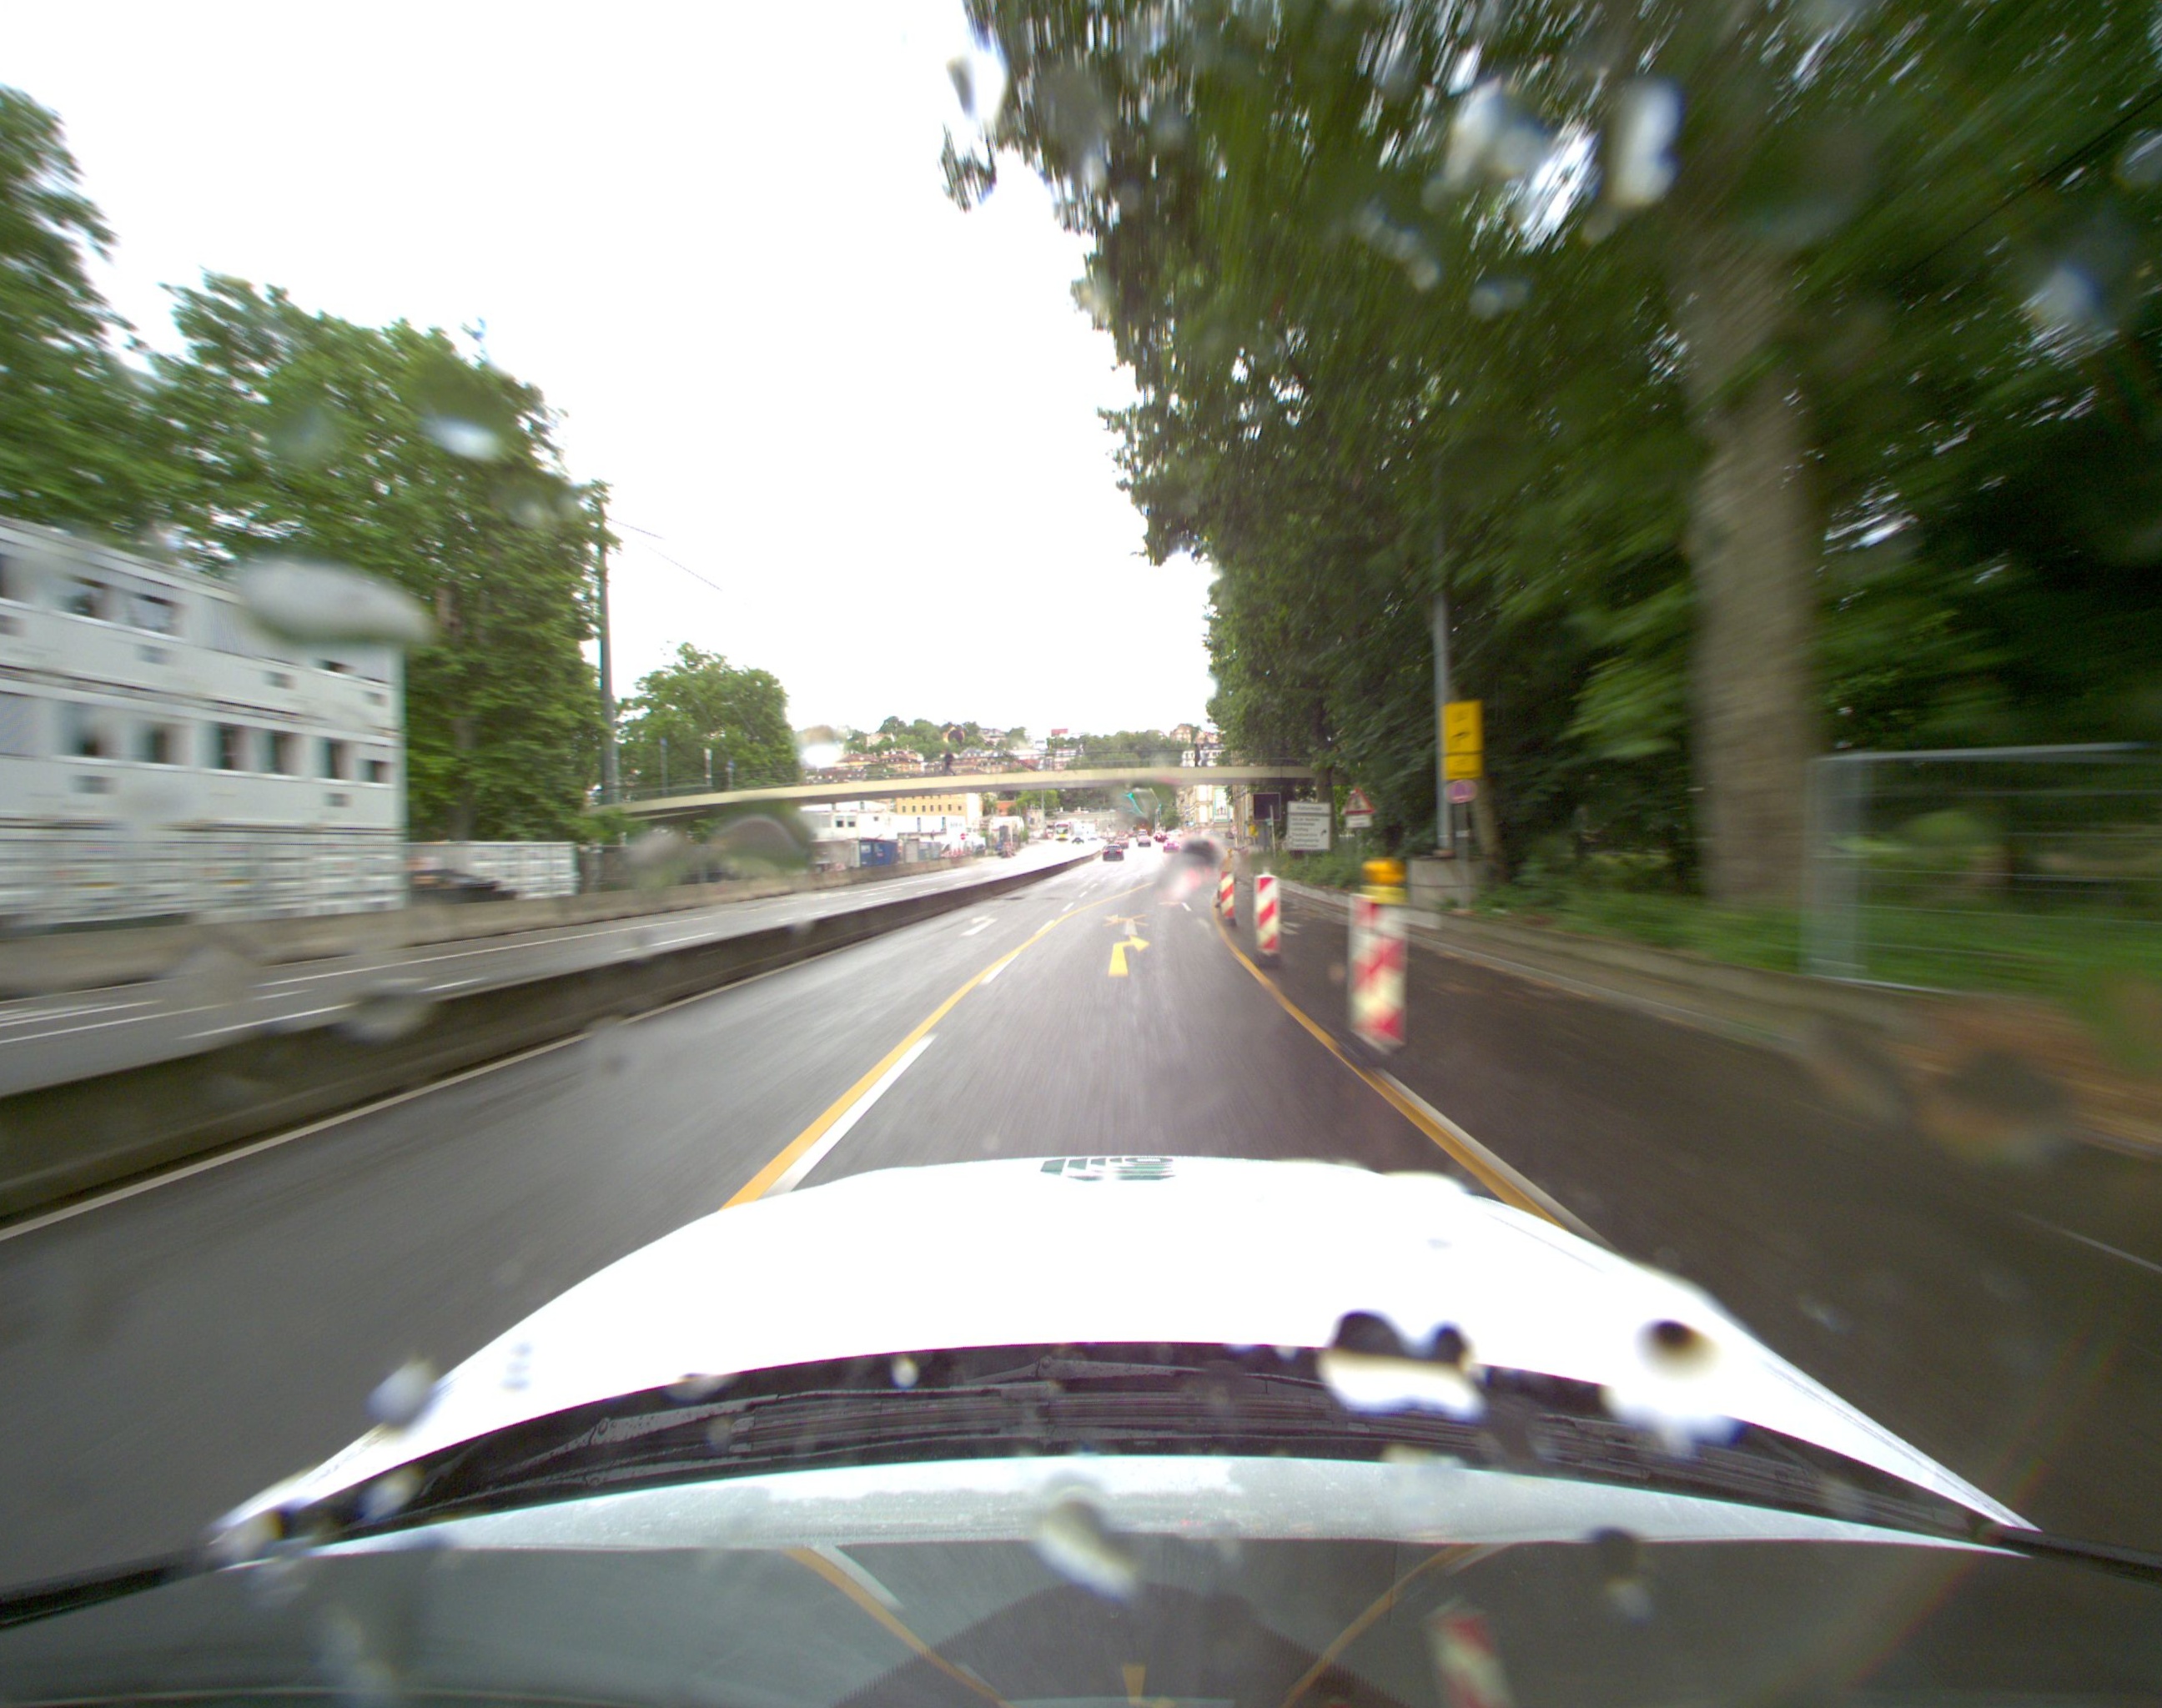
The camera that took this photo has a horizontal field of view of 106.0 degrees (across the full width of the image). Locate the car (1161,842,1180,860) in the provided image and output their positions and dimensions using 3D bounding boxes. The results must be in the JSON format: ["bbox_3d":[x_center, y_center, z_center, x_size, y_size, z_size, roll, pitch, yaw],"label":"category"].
[{"bbox_3d":[10.678,-0.308,97.365,2.096,2.050,4.004,-3,0,4],"label":"car"}]

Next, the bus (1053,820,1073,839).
[{"bbox_3d":[-3.220,-4.429,150.250,2.794,3.184,8.817,-3,1,4],"label":"bus"}]

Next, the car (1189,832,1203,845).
[{"bbox_3d":[19.498,-2.632,138.616,1.985,2.013,4.004,-1,1,3],"label":"car"}]

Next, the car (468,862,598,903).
[{"bbox_3d":[-22.601,1.171,33.700,3.971,1.443,2.001,-3,0,2],"label":"car"}]

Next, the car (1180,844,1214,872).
[{"bbox_3d":[6.860,0.215,48.080,1.801,1.527,4.010,-3,0,9],"label":"car"}]

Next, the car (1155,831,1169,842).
[{"bbox_3d":[13.555,-2.912,136.502,1.986,1.698,4.001,-3,0,2],"label":"car"}]

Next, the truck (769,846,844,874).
[{"bbox_3d":[-22.188,0.457,65.940,5.231,2.013,2.163,-3,0,-1],"label":"truck"}]

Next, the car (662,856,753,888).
[{"bbox_3d":[-22.012,1.018,48.126,4.416,1.627,1.955,-3,0,-6],"label":"car"}]

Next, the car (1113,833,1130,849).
[{"bbox_3d":[5.491,-1.733,110.411,1.983,2.013,4.007,-3,0,6],"label":"car"}]

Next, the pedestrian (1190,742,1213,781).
[{"bbox_3d":[6.953,-5.346,47.056,1.140,2.060,1.063,-3,-1,11],"label":"pedestrian"}]

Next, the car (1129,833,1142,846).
[{"bbox_3d":[9.183,-2.423,136.363,1.986,1.869,4.002,-3,0,2],"label":"car"}]

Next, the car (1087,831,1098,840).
[{"bbox_3d":[2.179,-3.371,148.890,1.701,1.489,3.455,-3,0,5],"label":"car"}]

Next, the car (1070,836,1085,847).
[{"bbox_3d":[-0.505,-2.031,132.729,2.073,1.630,4.857,-2,1,3],"label":"car"}]

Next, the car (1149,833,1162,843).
[{"bbox_3d":[13.079,-2.789,142.881,1.986,1.698,4.001,-3,0,2],"label":"car"}]

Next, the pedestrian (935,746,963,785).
[{"bbox_3d":[-7.422,-4.978,45.932,1.140,2.060,1.063,-3,-1,11],"label":"pedestrian"}]

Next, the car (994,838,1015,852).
[{"bbox_3d":[-10.485,-1.262,112.154,1.983,1.621,4.009,-2,2,7],"label":"car"}]

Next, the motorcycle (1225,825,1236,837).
[{"bbox_3d":[26.394,-4.021,143.722,1.785,2.013,3.822,-2,2,7],"label":"motorcycle"}]

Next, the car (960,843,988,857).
[{"bbox_3d":[-12.963,-0.477,98.572,1.749,1.565,4.700,-3,0,13],"label":"car"}]

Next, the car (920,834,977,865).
[{"bbox_3d":[-13.077,-0.454,80.802,1.974,2.875,6.090,-3,0,30],"label":"car"}]

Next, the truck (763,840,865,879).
[{"bbox_3d":[-18.867,0.397,57.807,6.264,2.452,2.690,-3,0,-4],"label":"truck"}]

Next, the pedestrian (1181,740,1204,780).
[{"bbox_3d":[6.301,-5.305,46.123,1.140,2.060,1.063,-3,-1,11],"label":"pedestrian"}]

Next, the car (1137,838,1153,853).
[{"bbox_3d":[9.254,-1.215,117.505,2.043,2.013,4.003,-3,0,3],"label":"car"}]

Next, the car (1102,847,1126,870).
[{"bbox_3d":[3.074,0.426,75.567,2.008,2.013,4.004,-3,0,4],"label":"car"}]
